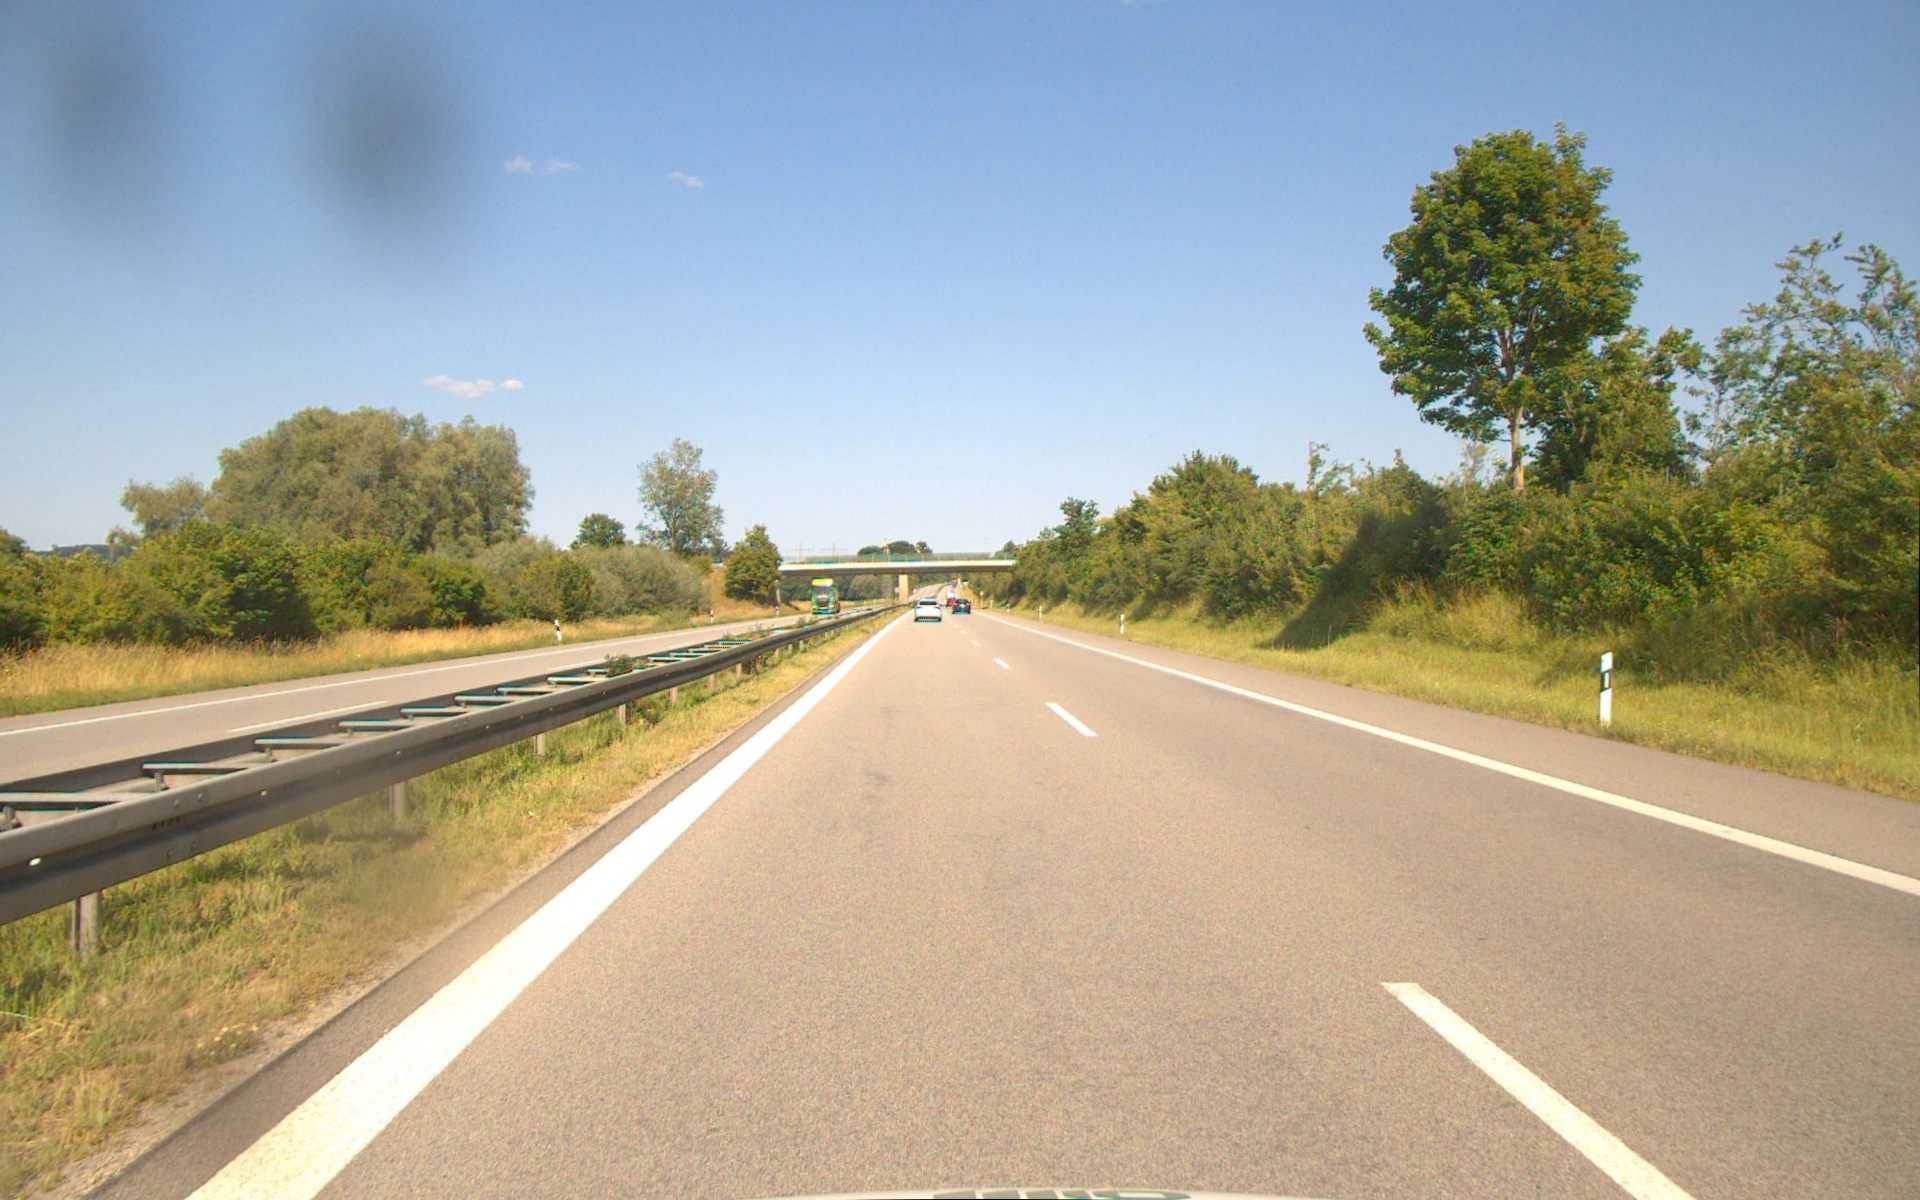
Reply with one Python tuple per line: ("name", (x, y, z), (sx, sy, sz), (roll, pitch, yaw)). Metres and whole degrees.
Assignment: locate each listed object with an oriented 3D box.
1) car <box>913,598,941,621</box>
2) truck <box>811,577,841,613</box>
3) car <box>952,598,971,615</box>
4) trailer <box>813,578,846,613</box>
("car", (-2.180, 0.626, 108.381), (1.806, 1.440, 3.999), (1, 0, -1))
("truck", (-14.611, -0.529, 180.282), (2.895, 3.796, 5.567), (-1, 0, -2))
("car", (0.120, 0.646, 163.204), (1.806, 1.546, 3.999), (1, 0, -1))
("trailer", (-14.780, -0.510, 187.807), (2.920, 3.796, 12.416), (-1, 0, -1))
